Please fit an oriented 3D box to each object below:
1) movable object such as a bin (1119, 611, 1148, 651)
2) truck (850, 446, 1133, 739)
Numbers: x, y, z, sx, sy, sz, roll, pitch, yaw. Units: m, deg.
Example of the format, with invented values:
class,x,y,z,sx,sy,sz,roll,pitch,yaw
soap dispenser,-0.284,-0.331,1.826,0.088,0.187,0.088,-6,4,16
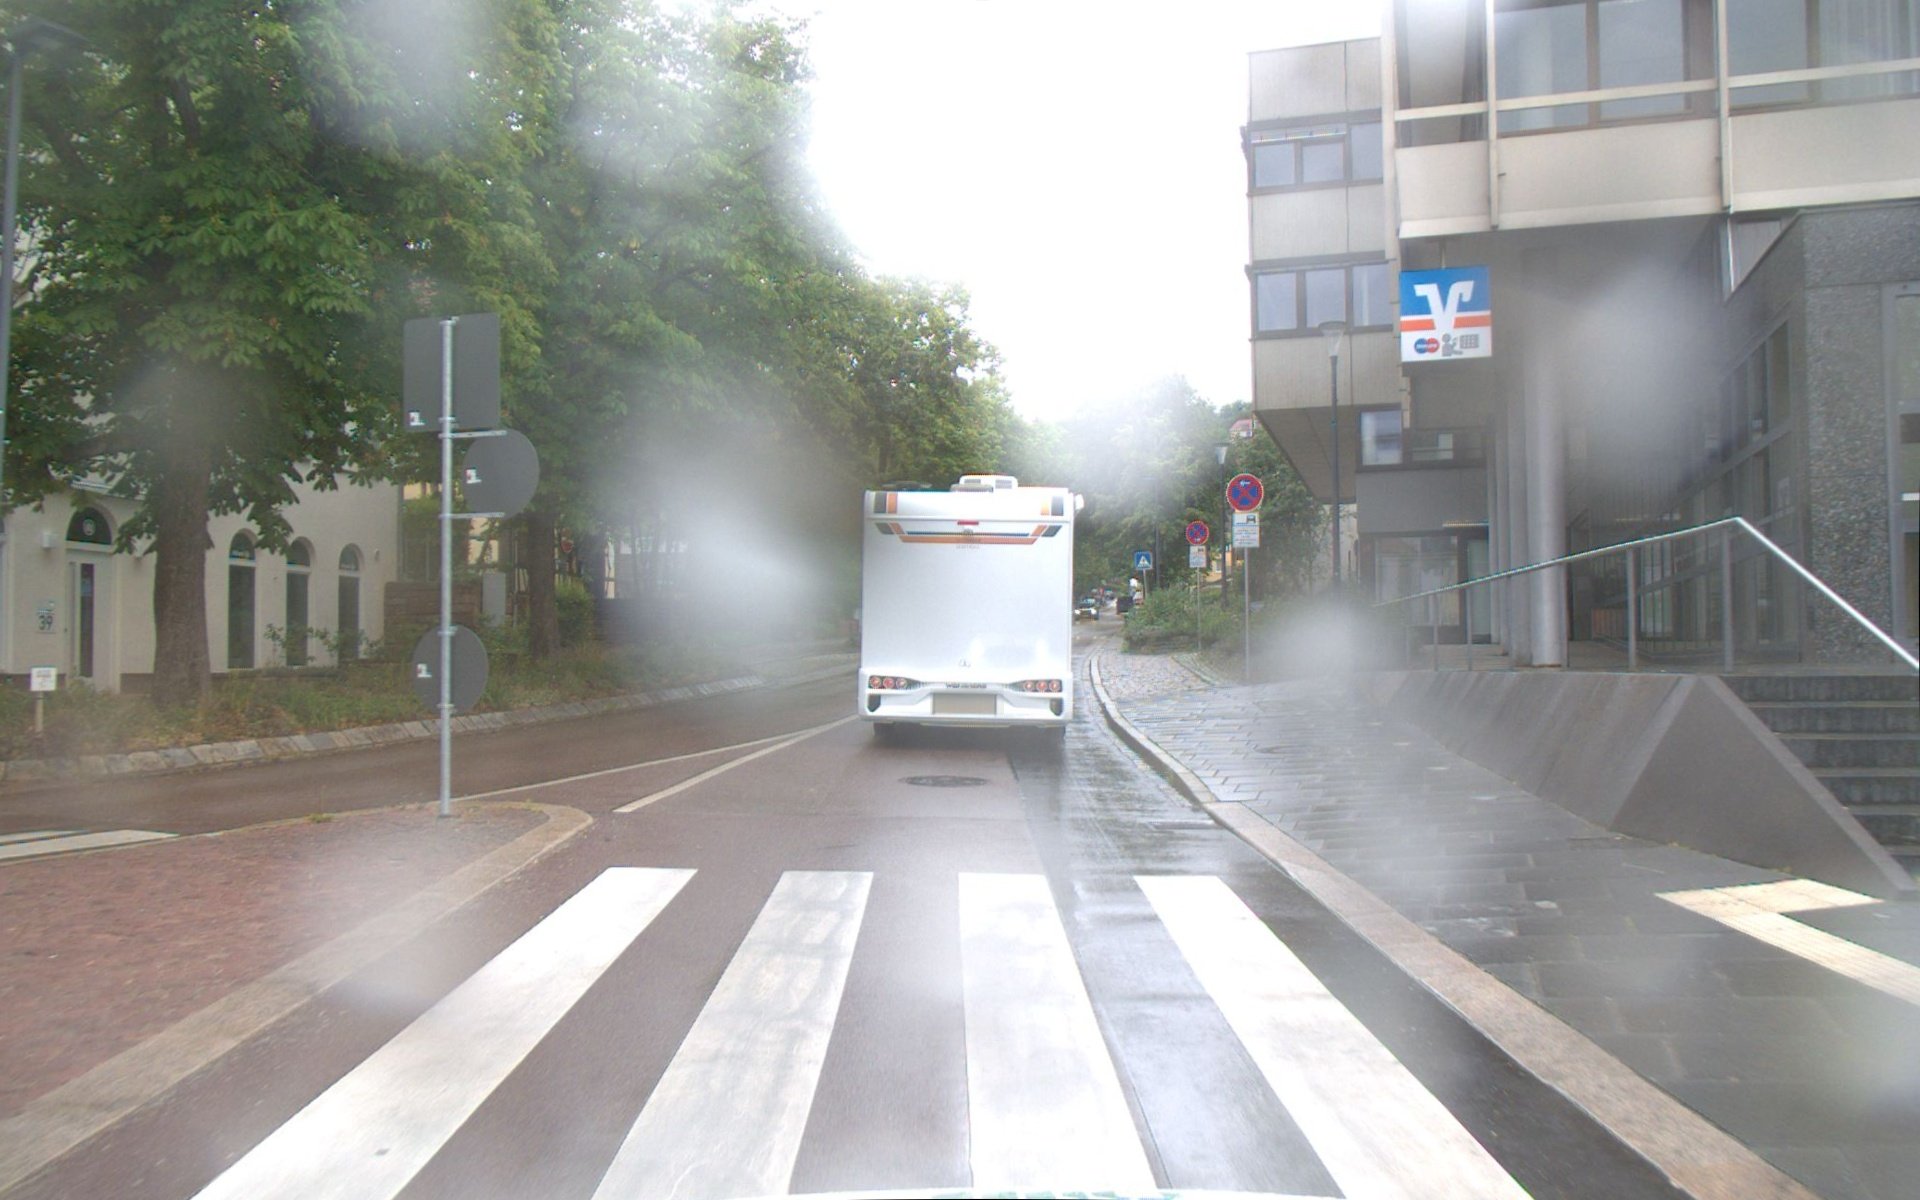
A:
class,x,y,z,sx,sy,sz,roll,pitch,yaw
movable object such as a bin,5.112,0.915,48.801,0.689,1.144,0.571,-3,-2,23
truck,0.331,0.005,19.606,2.748,2.846,6.106,-2,-2,0
